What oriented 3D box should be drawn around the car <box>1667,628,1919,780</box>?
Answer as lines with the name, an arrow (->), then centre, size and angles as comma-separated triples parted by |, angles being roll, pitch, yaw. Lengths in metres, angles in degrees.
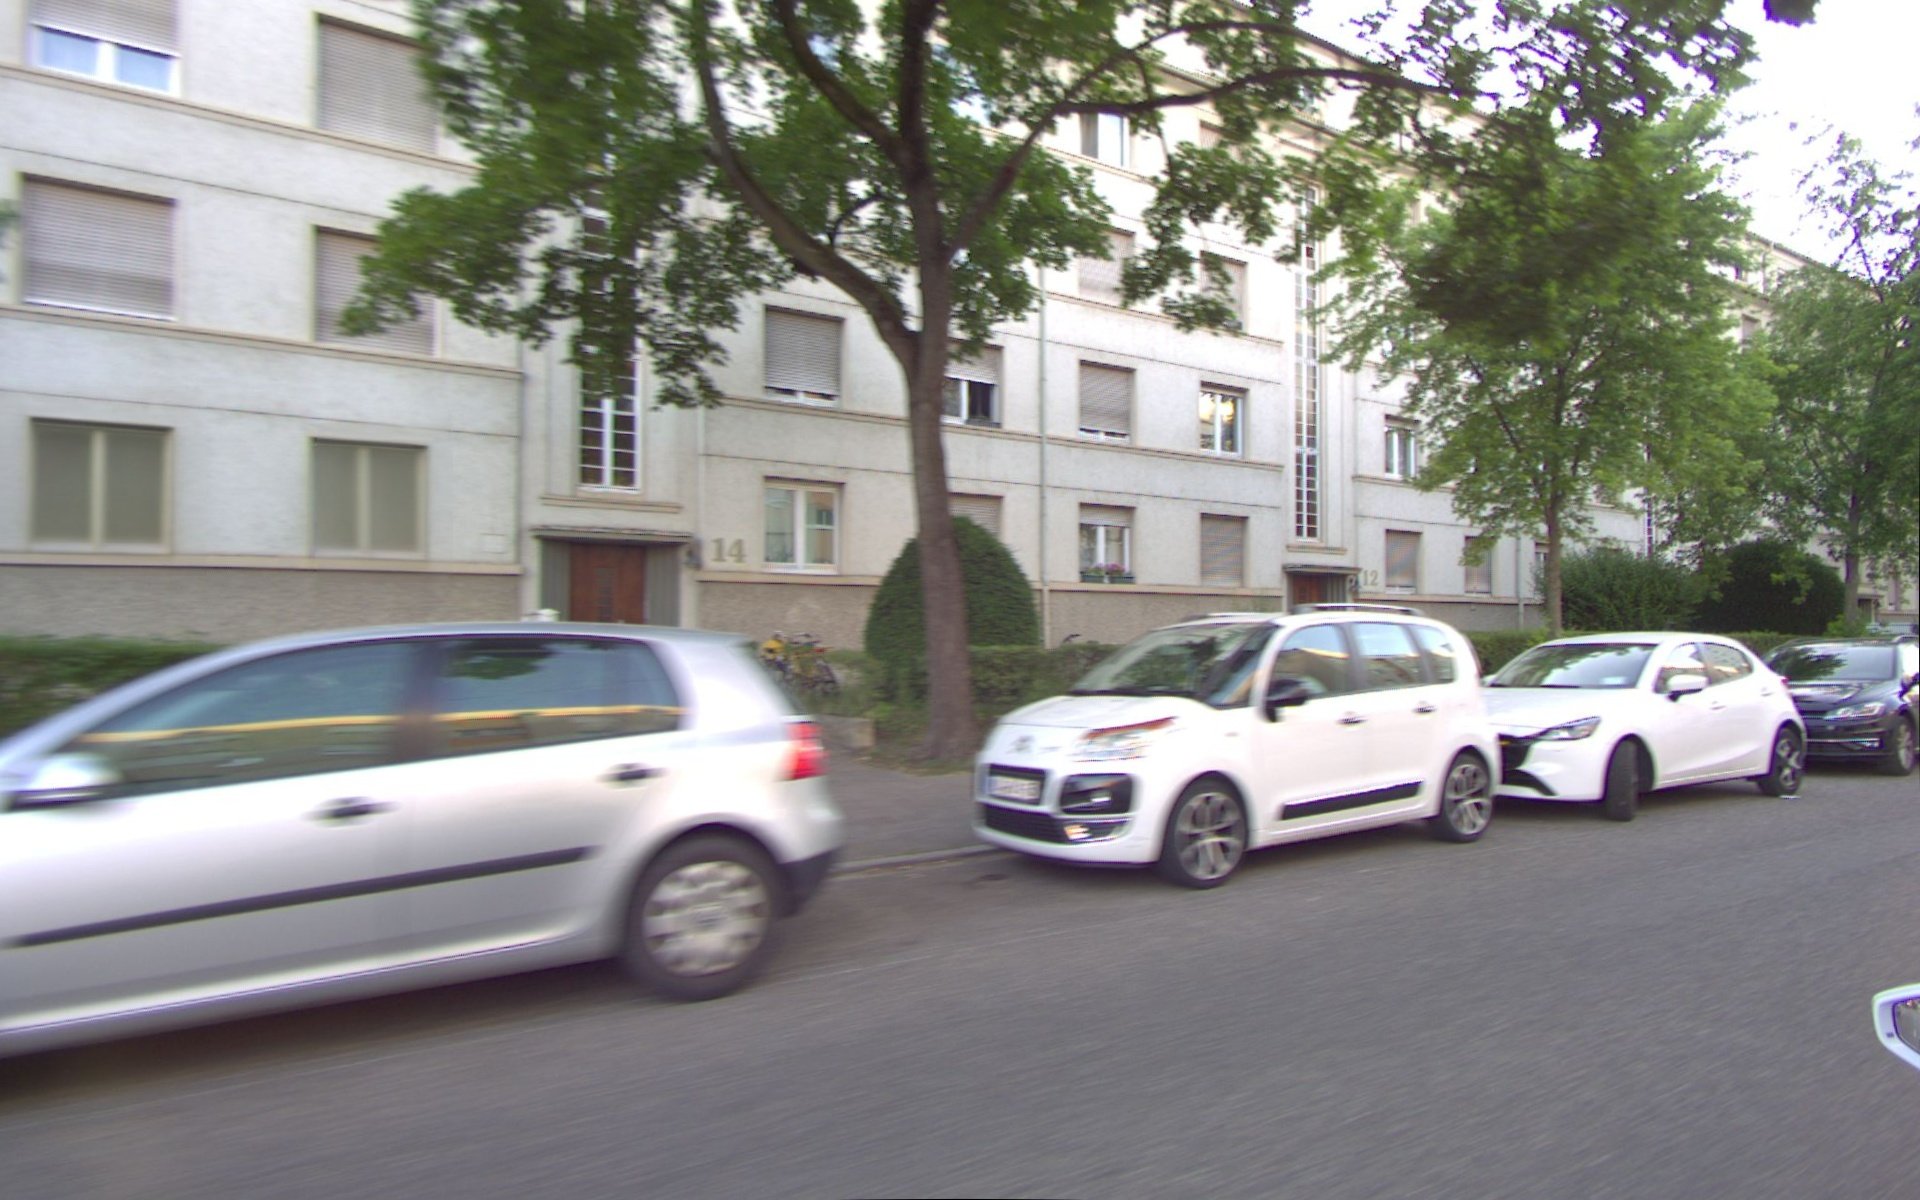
car -> 10.493, 1.131, 11.925 | 4.627, 1.498, 1.743 | 1, -5, -32

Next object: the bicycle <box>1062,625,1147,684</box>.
bicycle -> 3.055, 1.134, 21.137 | 1.794, 1.187, 0.554 | 1, -2, -28

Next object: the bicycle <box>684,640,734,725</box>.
bicycle -> -3.460, 1.096, 13.758 | 0.549, 1.056, 1.810 | 1, -1, -18

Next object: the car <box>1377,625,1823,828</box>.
car -> 5.870, 1.026, 9.164 | 3.896, 1.498, 1.745 | 1, -5, -29

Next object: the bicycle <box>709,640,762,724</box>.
bicycle -> -3.137, 1.103, 13.939 | 0.549, 1.056, 1.810 | 1, -1, -18

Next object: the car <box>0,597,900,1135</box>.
car -> -2.494, 0.813, 3.932 | 4.173, 1.490, 1.745 | 1, -5, -30

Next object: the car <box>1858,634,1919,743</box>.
car -> 14.676, 1.223, 14.454 | 3.665, 1.478, 1.665 | 1, -5, -33

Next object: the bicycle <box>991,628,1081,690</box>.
bicycle -> 1.541, 1.169, 20.141 | 1.794, 1.187, 0.554 | 1, -2, -28

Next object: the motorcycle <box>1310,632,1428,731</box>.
motorcycle -> 5.840, 1.129, 14.323 | 1.807, 1.342, 0.583 | 1, -2, -31

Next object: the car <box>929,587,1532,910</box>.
car -> 1.974, 0.860, 7.012 | 4.062, 1.653, 1.744 | 1, -5, -32
